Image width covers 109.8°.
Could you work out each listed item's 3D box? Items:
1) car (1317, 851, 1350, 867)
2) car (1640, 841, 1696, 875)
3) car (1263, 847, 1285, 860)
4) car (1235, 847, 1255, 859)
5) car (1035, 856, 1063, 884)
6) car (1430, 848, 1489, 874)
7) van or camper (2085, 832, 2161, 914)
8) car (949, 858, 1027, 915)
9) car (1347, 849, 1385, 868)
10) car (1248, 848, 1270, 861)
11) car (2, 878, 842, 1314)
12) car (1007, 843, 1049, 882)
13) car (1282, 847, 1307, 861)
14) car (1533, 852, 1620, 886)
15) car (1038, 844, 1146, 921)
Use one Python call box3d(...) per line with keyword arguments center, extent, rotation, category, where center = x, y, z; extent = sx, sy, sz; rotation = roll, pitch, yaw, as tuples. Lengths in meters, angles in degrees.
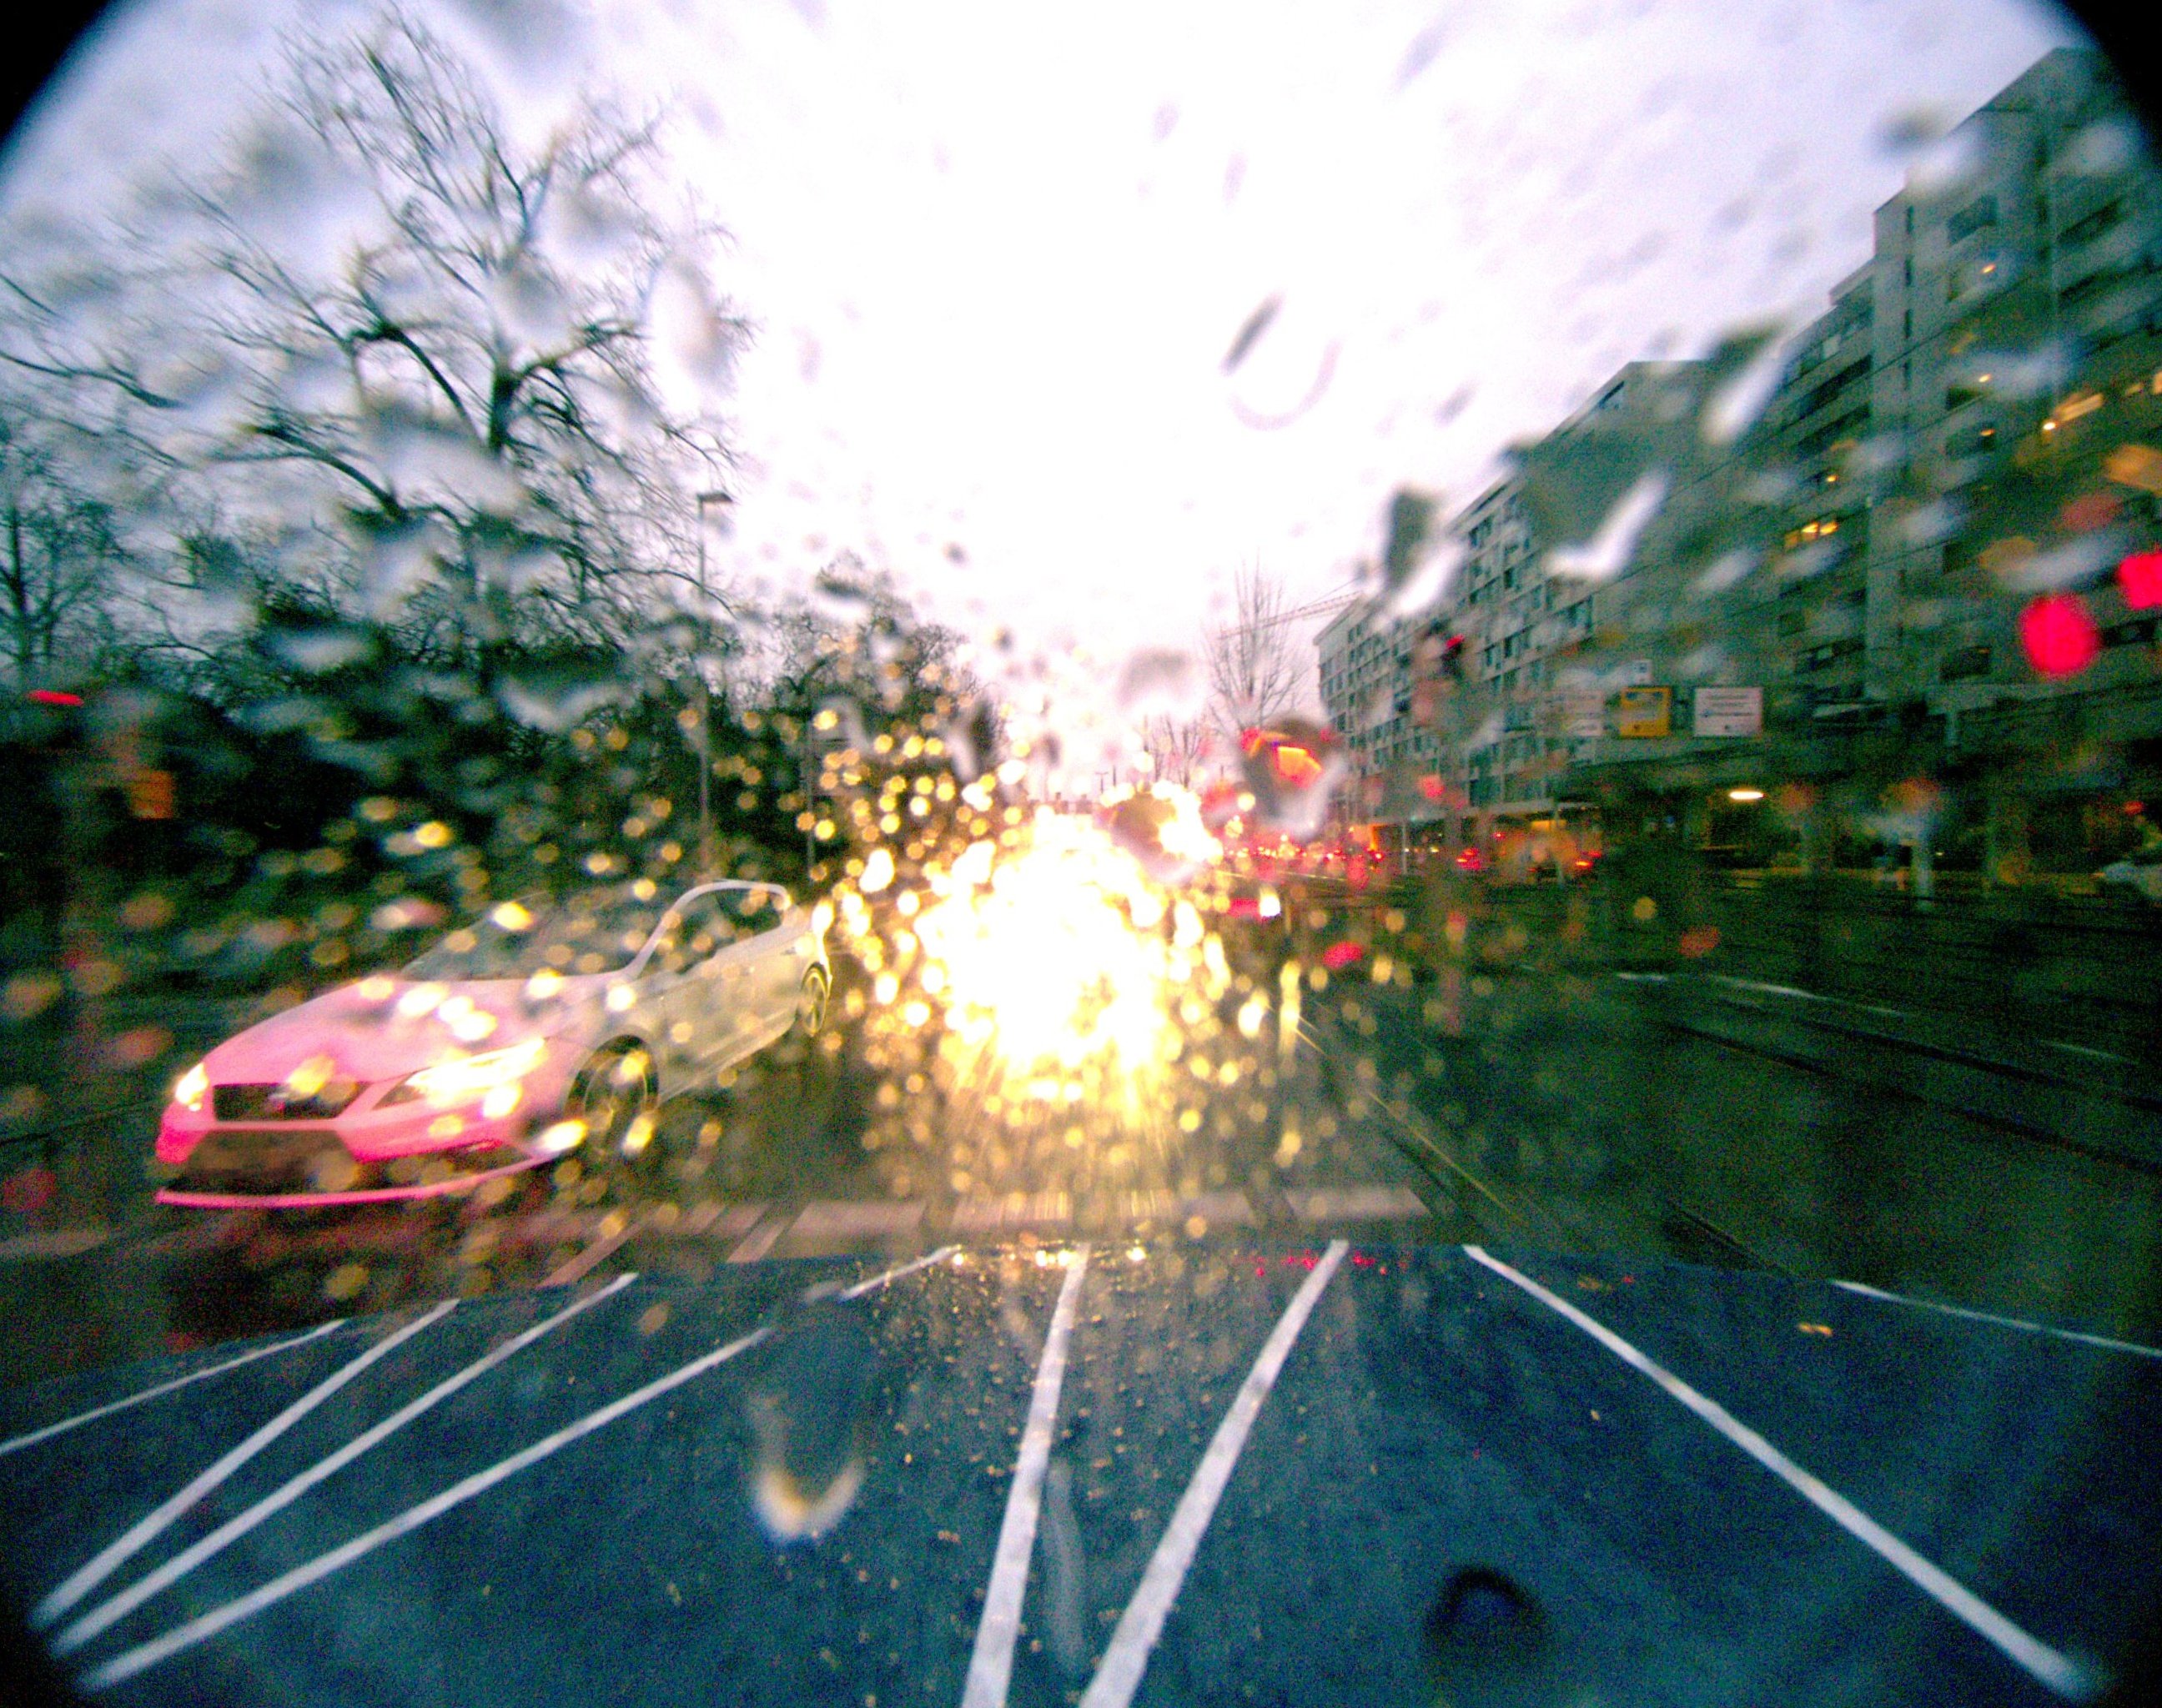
box3d(center=(24.044, 0.435, 72.495), extent=(1.754, 1.440, 3.872), rotation=(-1, 1, -1), category="car")
box3d(center=(29.641, 0.174, 38.340), extent=(3.785, 1.609, 1.676), rotation=(-2, 2, -44), category="car")
box3d(center=(23.644, -0.076, 93.214), extent=(1.596, 1.440, 3.872), rotation=(-1, 1, -1), category="car")
box3d(center=(21.096, -0.137, 97.798), extent=(1.596, 1.440, 3.872), rotation=(-1, 1, -1), category="car")
box3d(center=(-2.092, 1.036, 50.408), extent=(1.679, 1.670, 3.864), rotation=(-1, 1, 0), category="car")
box3d(center=(23.847, 0.402, 47.960), extent=(1.754, 1.503, 3.889), rotation=(-1, 1, -1), category="car")
box3d(center=(28.542, 0.480, 18.032), extent=(1.998, 2.085, 5.653), rotation=(-1, 1, 1), category="van or camper")
box3d(center=(-2.814, 0.933, 23.841), extent=(1.880, 1.490, 4.076), rotation=(-1, 2, 0), category="car")
box3d(center=(23.868, 0.370, 63.792), extent=(1.754, 1.440, 3.872), rotation=(-1, 1, -1), category="car")
box3d(center=(20.987, 0.092, 89.838), extent=(1.596, 1.440, 3.872), rotation=(-1, 1, -1), category="car")
box3d(center=(-3.200, 1.006, 4.962), extent=(1.778, 1.453, 4.040), rotation=(-1, 2, 3), category="car")
box3d(center=(-2.481, 0.379, 36.555), extent=(1.679, 1.739, 3.864), rotation=(-1, 1, 0), category="car")
box3d(center=(24.138, -0.006, 85.994), extent=(1.596, 1.440, 3.872), rotation=(-1, 1, -1), category="car")
box3d(center=(23.459, 0.687, 36.140), extent=(1.677, 1.440, 3.766), rotation=(-1, 1, -1), category="car")
box3d(center=(0.244, 0.553, 17.425), extent=(2.160, 1.490, 4.006), rotation=(-1, 2, 0), category="car")
